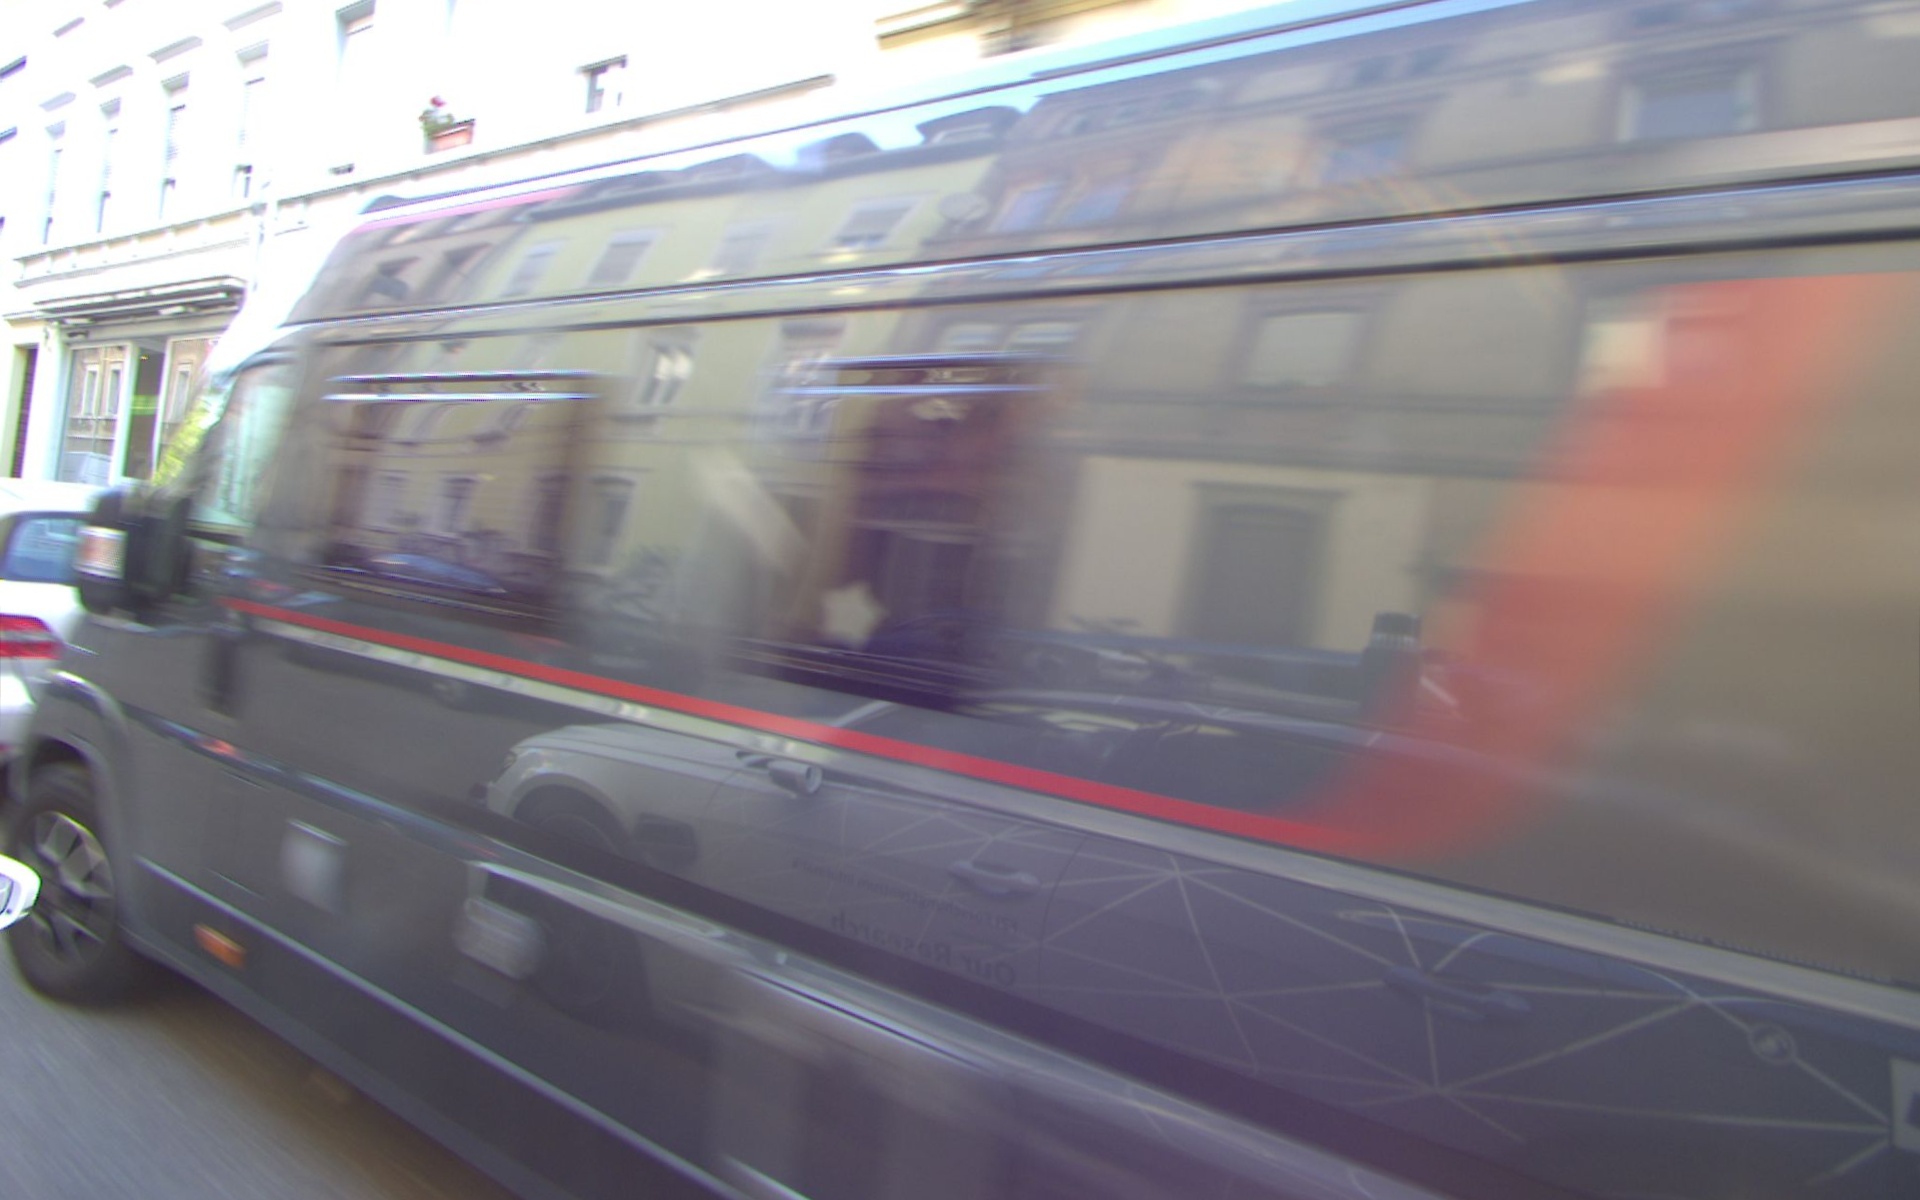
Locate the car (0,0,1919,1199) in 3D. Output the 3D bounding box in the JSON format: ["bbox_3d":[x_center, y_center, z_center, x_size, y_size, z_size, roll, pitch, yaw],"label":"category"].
[{"bbox_3d":[-0.209,0.281,2.668,6.204,2.456,2.177,7,1,32],"label":"car"}]

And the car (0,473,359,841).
[{"bbox_3d":[-5.713,0.081,6.085,4.302,1.628,1.695,7,1,32],"label":"car"}]

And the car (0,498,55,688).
[{"bbox_3d":[-9.663,-0.310,8.554,4.172,1.503,1.749,7,-1,32],"label":"car"}]
